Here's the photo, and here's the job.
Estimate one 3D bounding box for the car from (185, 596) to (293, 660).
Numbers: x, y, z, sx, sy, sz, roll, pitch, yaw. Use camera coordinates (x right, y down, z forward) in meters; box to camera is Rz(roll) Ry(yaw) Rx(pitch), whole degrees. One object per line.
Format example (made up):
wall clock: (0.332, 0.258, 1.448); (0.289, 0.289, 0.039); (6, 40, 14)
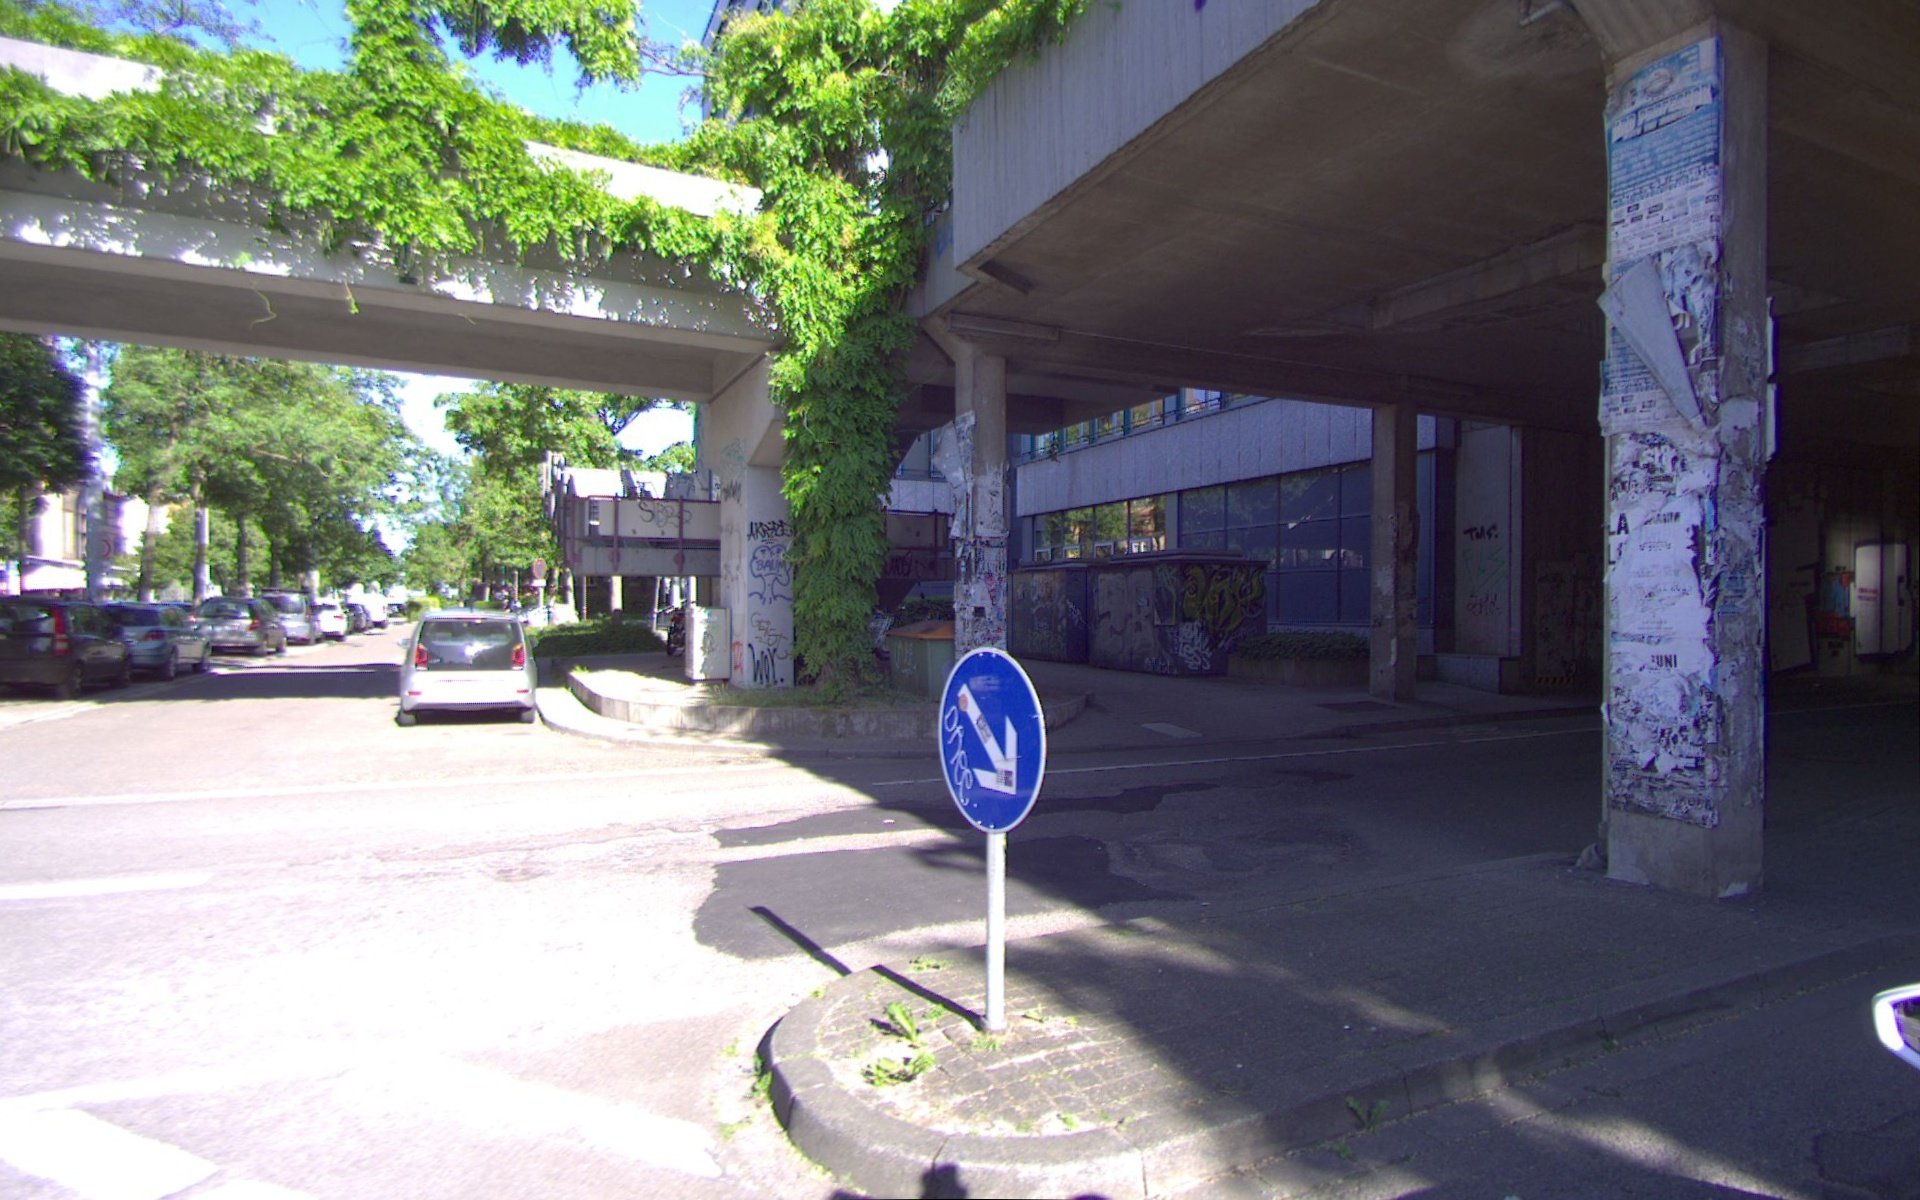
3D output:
car: (-20.255, 0.740, 28.384); (1.755, 1.668, 4.057); (1, -1, -25)

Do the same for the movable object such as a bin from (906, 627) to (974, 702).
movable object such as a bin: (-0.262, 0.809, 12.934); (0.633, 0.917, 0.714); (0, 0, -28)

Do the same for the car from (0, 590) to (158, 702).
car: (-14.348, 0.656, 15.881); (1.723, 1.558, 3.755); (3, -2, -25)

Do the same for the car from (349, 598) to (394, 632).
car: (-34.841, 0.854, 59.574); (2.045, 1.934, 4.494); (0, 0, -27)

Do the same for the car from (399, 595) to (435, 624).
car: (-39.268, 0.675, 72.723); (1.973, 2.040, 4.269); (1, 0, -24)

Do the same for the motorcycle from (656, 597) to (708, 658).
motorcycle: (-6.151, 0.589, 22.173); (0.722, 1.287, 2.040); (0, 0, -26)

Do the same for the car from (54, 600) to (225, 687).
car: (-15.959, 0.807, 19.786); (1.637, 1.467, 4.252); (4, -2, -27)

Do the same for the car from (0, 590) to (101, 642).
car: (-27.046, 0.474, 29.721); (1.635, 1.447, 3.484); (1, -1, -26)

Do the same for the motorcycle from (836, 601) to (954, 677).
motorcycle: (-1.140, 0.676, 17.684); (1.967, 1.281, 0.675); (1, 0, -28)

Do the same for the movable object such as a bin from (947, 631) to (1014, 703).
movable object such as a bin: (0.273, 0.880, 13.452); (0.633, 0.917, 0.714); (0, 0, -28)

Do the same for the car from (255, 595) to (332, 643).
car: (-23.548, 0.642, 35.628); (1.712, 1.569, 4.419); (0, 0, -26)

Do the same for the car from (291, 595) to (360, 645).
car: (-25.723, 0.787, 40.859); (1.974, 1.908, 4.208); (1, 0, -27)

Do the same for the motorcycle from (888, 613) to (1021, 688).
motorcycle: (-0.066, 0.779, 15.921); (2.124, 1.125, 0.524); (1, 0, -30)

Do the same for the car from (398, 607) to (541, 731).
car: (-6.921, 0.866, 14.210); (1.590, 1.506, 3.624); (1, -1, -26)

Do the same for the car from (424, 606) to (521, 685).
car: (-10.516, 0.913, 21.726); (1.715, 1.550, 3.974); (1, -1, -26)
